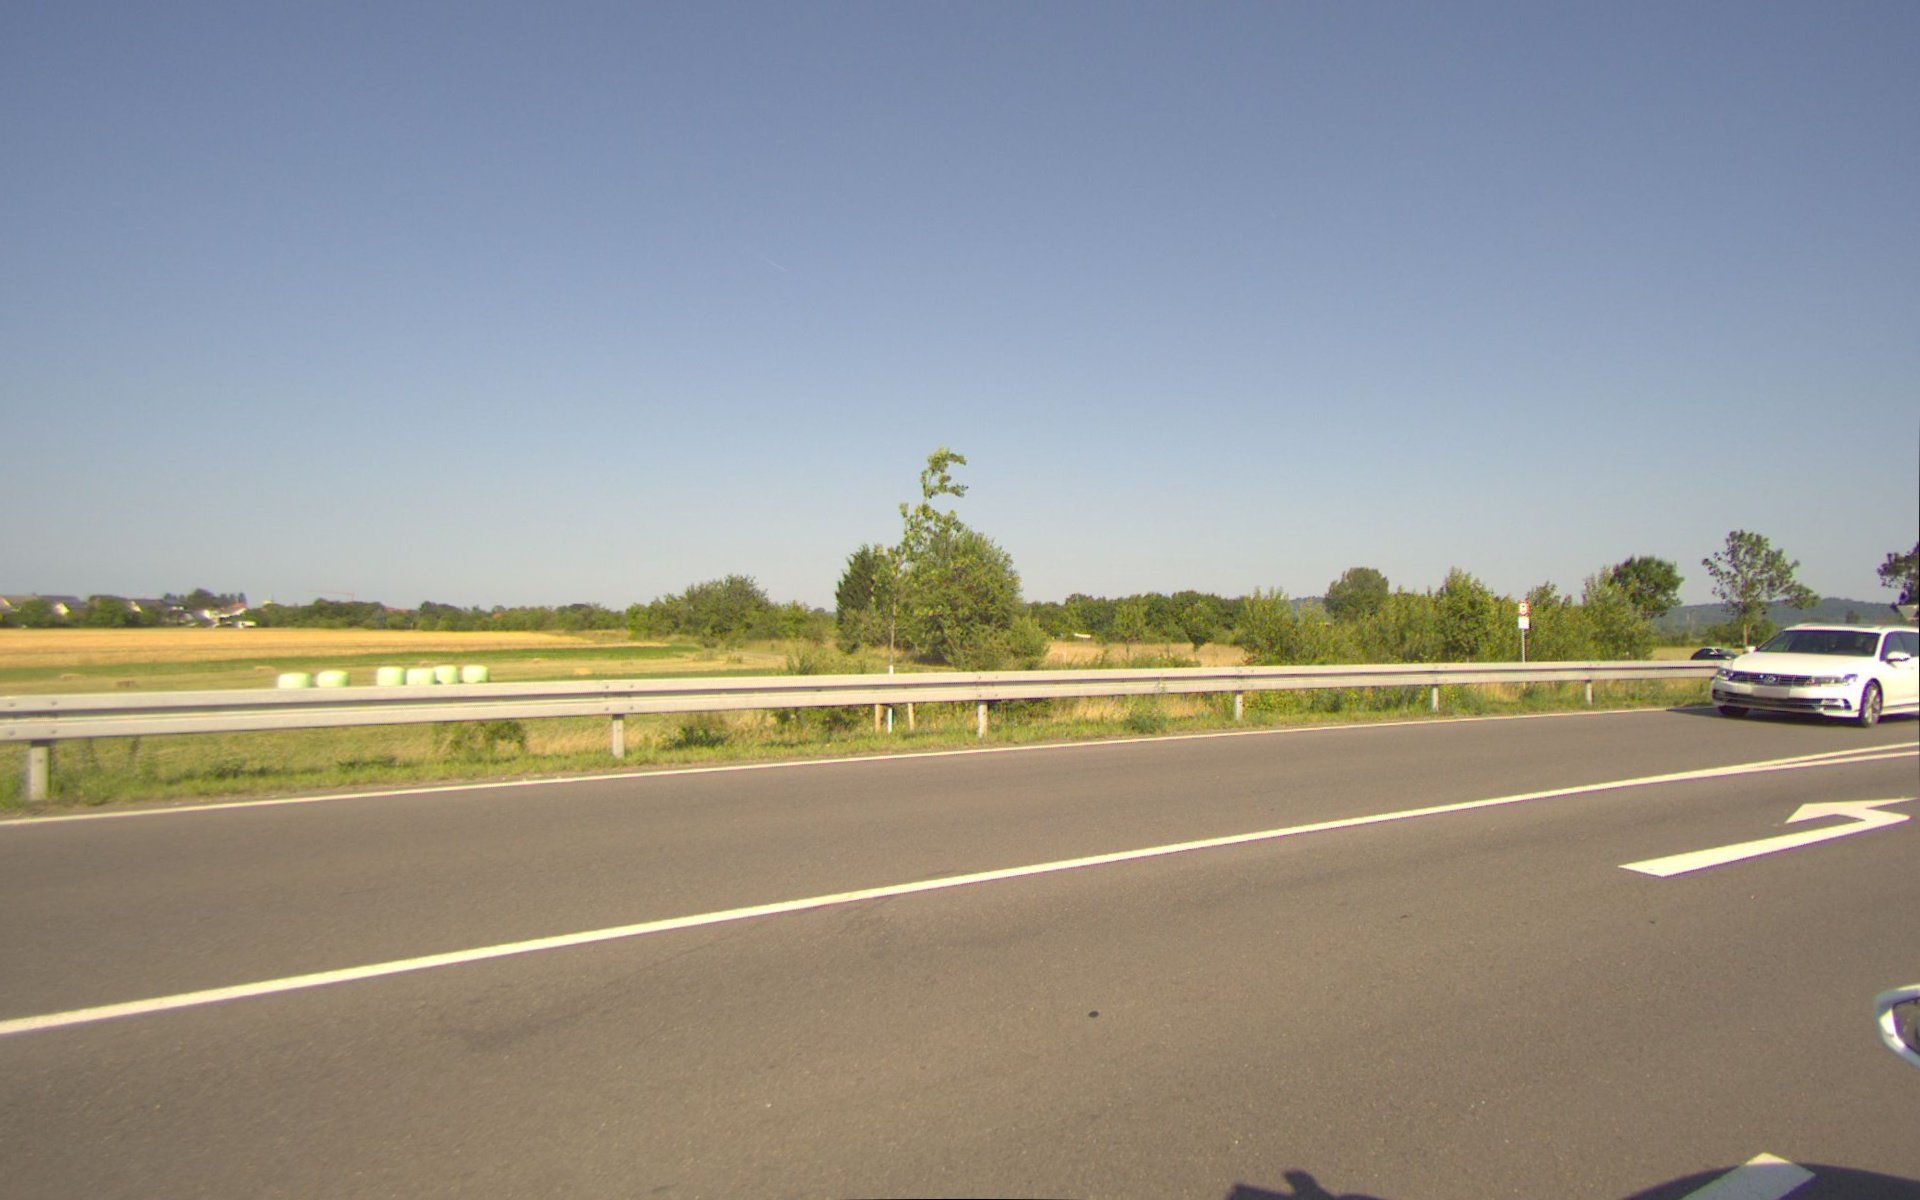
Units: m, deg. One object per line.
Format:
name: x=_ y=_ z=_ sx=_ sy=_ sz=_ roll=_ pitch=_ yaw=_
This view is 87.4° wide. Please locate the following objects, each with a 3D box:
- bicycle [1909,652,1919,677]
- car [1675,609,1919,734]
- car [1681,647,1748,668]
bicycle: x=56.493 y=3.801 z=57.992 sx=0.719 sy=1.415 sz=2.495 roll=2 pitch=0 yaw=-9
car: x=13.754 y=0.992 z=15.809 sx=5.089 sy=1.513 sz=2.105 roll=-1 pitch=2 yaw=-29
car: x=54.561 y=4.147 z=72.703 sx=1.697 sy=1.476 sz=3.735 roll=1 pitch=-2 yaw=-8
